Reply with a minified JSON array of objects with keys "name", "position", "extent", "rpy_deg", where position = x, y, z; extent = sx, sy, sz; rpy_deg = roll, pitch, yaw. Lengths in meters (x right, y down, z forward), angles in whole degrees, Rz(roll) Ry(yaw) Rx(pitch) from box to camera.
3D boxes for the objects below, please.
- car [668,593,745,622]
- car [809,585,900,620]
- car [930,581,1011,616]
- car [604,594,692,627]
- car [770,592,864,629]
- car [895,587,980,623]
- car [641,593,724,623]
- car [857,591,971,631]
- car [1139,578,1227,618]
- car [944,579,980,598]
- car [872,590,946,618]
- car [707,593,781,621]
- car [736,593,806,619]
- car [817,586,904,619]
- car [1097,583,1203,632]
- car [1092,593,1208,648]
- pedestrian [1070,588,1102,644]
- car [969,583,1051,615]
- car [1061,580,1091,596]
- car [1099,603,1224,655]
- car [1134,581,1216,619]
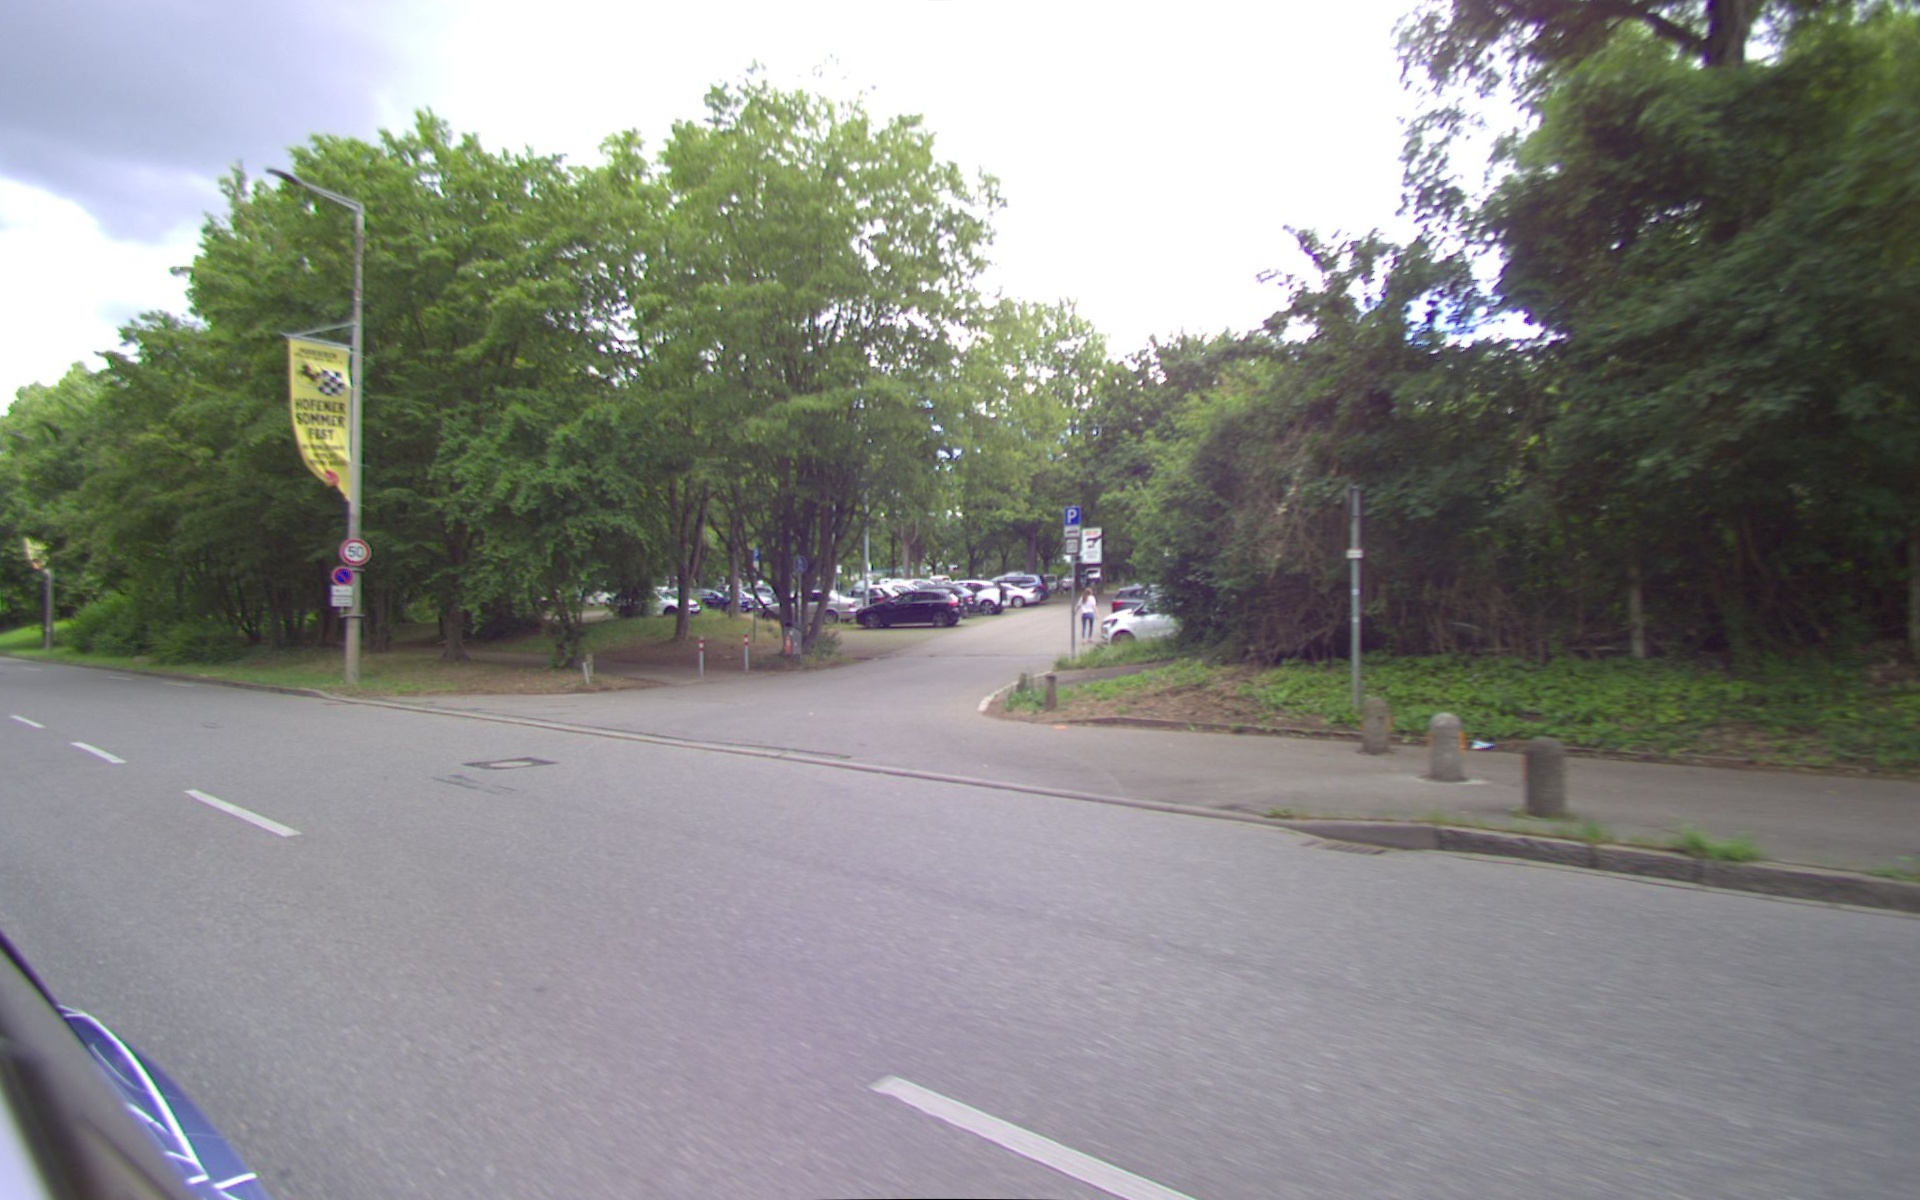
[{"name":"car","position":[-14.336,0.435,57.317],"extent":[3.966,1.497,1.642],"rpy_deg":[-2,0,17]},{"name":"car","position":[-4.985,0.128,47.851],"extent":[3.966,1.497,1.642],"rpy_deg":[-2,0,17]},{"name":"car","position":[0.488,-0.063,45.791],"extent":[3.353,1.425,1.530],"rpy_deg":[-2,1,20]},{"name":"car","position":[-15.532,0.517,50.430],"extent":[3.966,1.497,1.642],"rpy_deg":[-2,0,17]},{"name":"car","position":[-6.034,0.441,42.749],"extent":[3.553,1.391,1.642],"rpy_deg":[-2,1,14]},{"name":"car","position":[-0.963,0.222,43.546],"extent":[3.353,1.425,1.530],"rpy_deg":[-2,1,20]},{"name":"car","position":[-14.583,0.418,53.227],"extent":[3.966,1.497,1.642],"rpy_deg":[-2,0,17]},{"name":"car","position":[-1.764,0.424,38.817],"extent":[4.092,1.350,1.433],"rpy_deg":[-2,1,20]},{"name":"car","position":[8.309,-0.062,37.637],"extent":[3.047,1.371,1.259],"rpy_deg":[-2,1,20]},{"name":"car","position":[0.236,-1.326,119.933],"extent":[3.950,2.075,1.893],"rpy_deg":[-2,0,16]},{"name":"car","position":[-2.693,0.201,53.843],"extent":[3.553,1.363,1.642],"rpy_deg":[-2,1,14]},{"name":"car","position":[-12.804,0.412,60.074],"extent":[3.966,1.497,1.642],"rpy_deg":[-2,0,17]},{"name":"car","position":[-11.696,0.399,62.640],"extent":[3.966,1.497,1.642],"rpy_deg":[-2,0,17]},{"name":"car","position":[-4.930,0.140,50.044],"extent":[3.966,1.497,1.642],"rpy_deg":[-2,0,17]},{"name":"car","position":[5.953,0.230,31.660],"extent":[3.047,1.412,1.367],"rpy_deg":[-2,1,20]},{"name":"car","position":[5.416,0.580,28.735],"extent":[3.047,1.412,1.367],"rpy_deg":[-2,1,20]},{"name":"pedestrian","position":[3.696,0.471,29.715],"extent":[0.824,1.623,0.467],"rpy_deg":[-2,-1,19]},{"name":"car","position":[2.613,-0.047,52.506],"extent":[3.966,1.497,1.642],"rpy_deg":[-2,0,17]},{"name":"car","position":[9.731,-0.981,84.788],"extent":[1.886,1.219,3.965],"rpy_deg":[-2,0,16]},{"name":"car","position":[5.296,0.755,26.567],"extent":[3.047,1.247,1.367],"rpy_deg":[-2,1,20]},{"name":"car","position":[8.552,-0.011,40.281],"extent":[3.047,1.378,1.259],"rpy_deg":[-2,1,20]}]
